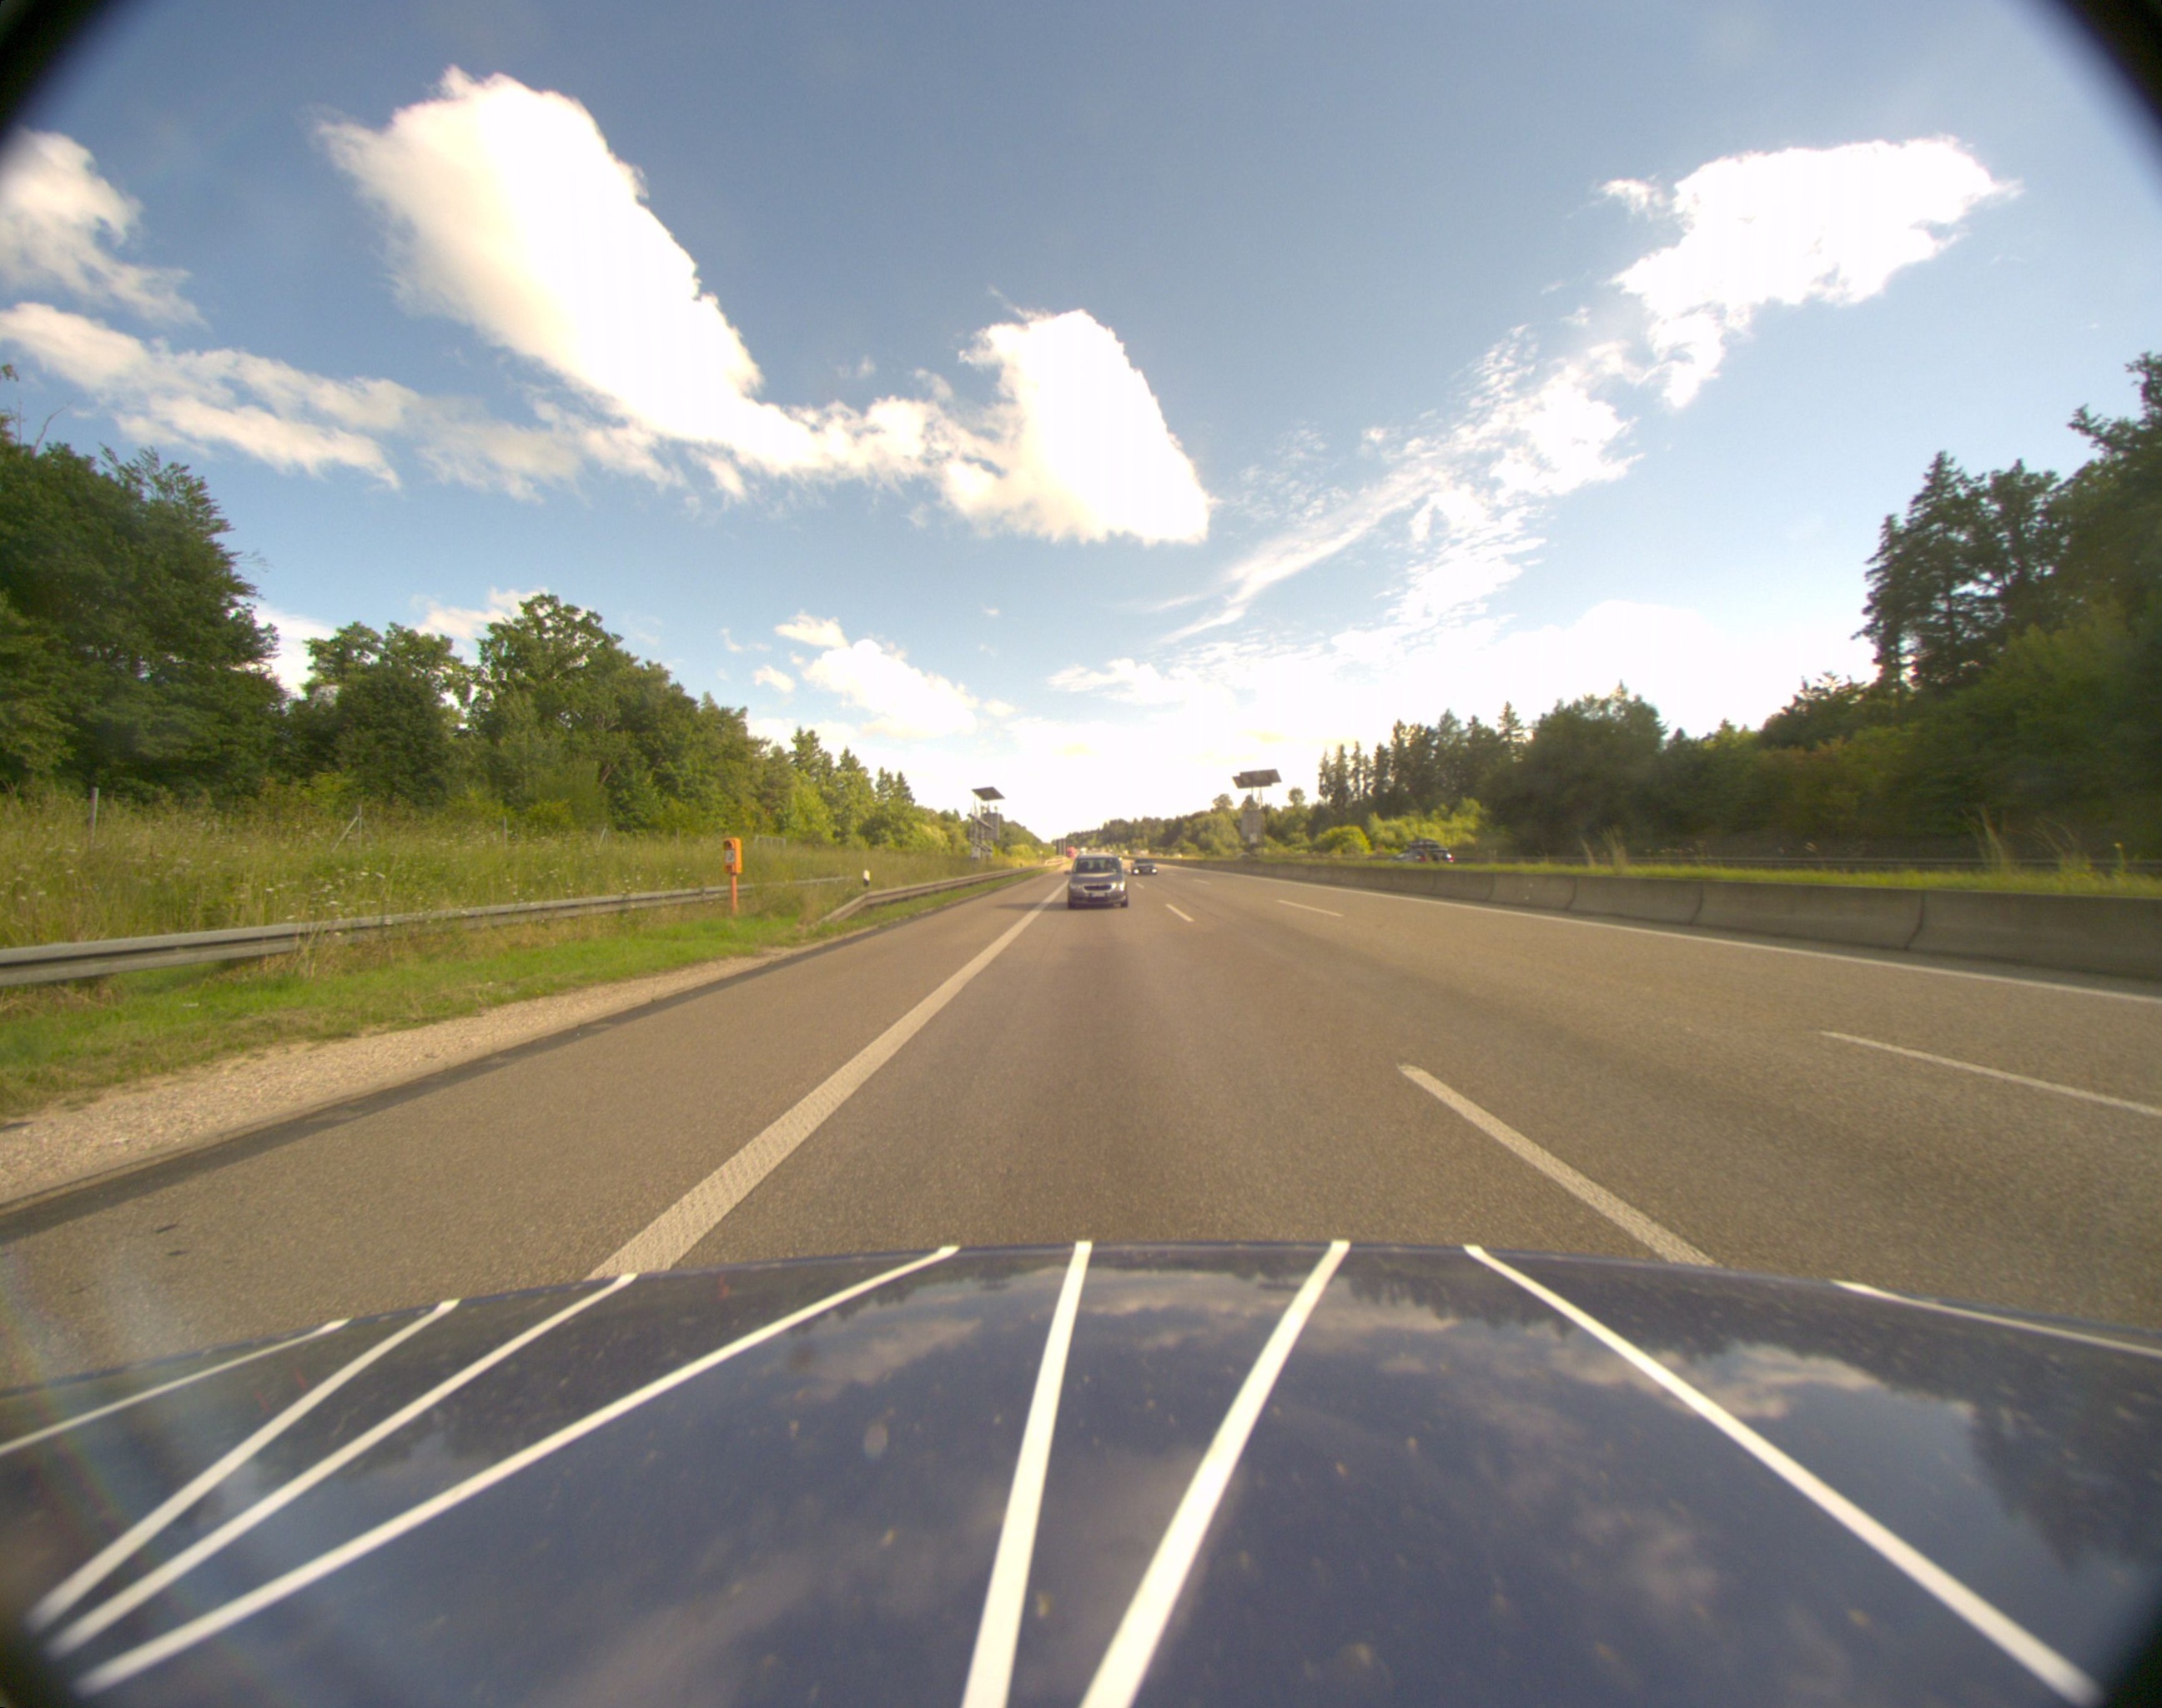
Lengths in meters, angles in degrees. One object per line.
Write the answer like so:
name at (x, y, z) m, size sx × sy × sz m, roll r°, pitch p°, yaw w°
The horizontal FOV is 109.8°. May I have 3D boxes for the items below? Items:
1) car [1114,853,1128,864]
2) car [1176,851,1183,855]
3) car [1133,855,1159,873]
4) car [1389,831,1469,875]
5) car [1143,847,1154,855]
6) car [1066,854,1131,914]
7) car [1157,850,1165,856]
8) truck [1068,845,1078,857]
car at (6.052, 0.625, 115.643) m, size 1.961 × 1.608 × 4.388 m, roll -2°, pitch 0°, yaw 2°
car at (26.101, -0.201, 201.187) m, size 1.595 × 1.087 × 3.173 m, roll -2°, pitch 0°, yaw 2°
car at (4.968, 0.762, 58.271) m, size 1.748 × 1.276 × 4.199 m, roll -2°, pitch 0°, yaw 2°
car at (16.809, -0.056, 36.937) m, size 1.998 × 2.002 × 4.071 m, roll -2°, pitch 0°, yaw 1°
car at (19.507, -0.801, 220.066) m, size 2.585 × 2.332 × 5.829 m, roll -2°, pitch 0°, yaw 2°
car at (0.548, 0.844, 23.112) m, size 1.741 × 1.608 × 4.083 m, roll -2°, pitch 0°, yaw 2°
car at (22.882, -0.230, 216.674) m, size 1.929 × 1.795 × 4.493 m, roll -2°, pitch 0°, yaw 2°
truck at (-2.667, -1.072, 253.065) m, size 2.880 × 3.871 × 8.958 m, roll -2°, pitch 1°, yaw 1°
